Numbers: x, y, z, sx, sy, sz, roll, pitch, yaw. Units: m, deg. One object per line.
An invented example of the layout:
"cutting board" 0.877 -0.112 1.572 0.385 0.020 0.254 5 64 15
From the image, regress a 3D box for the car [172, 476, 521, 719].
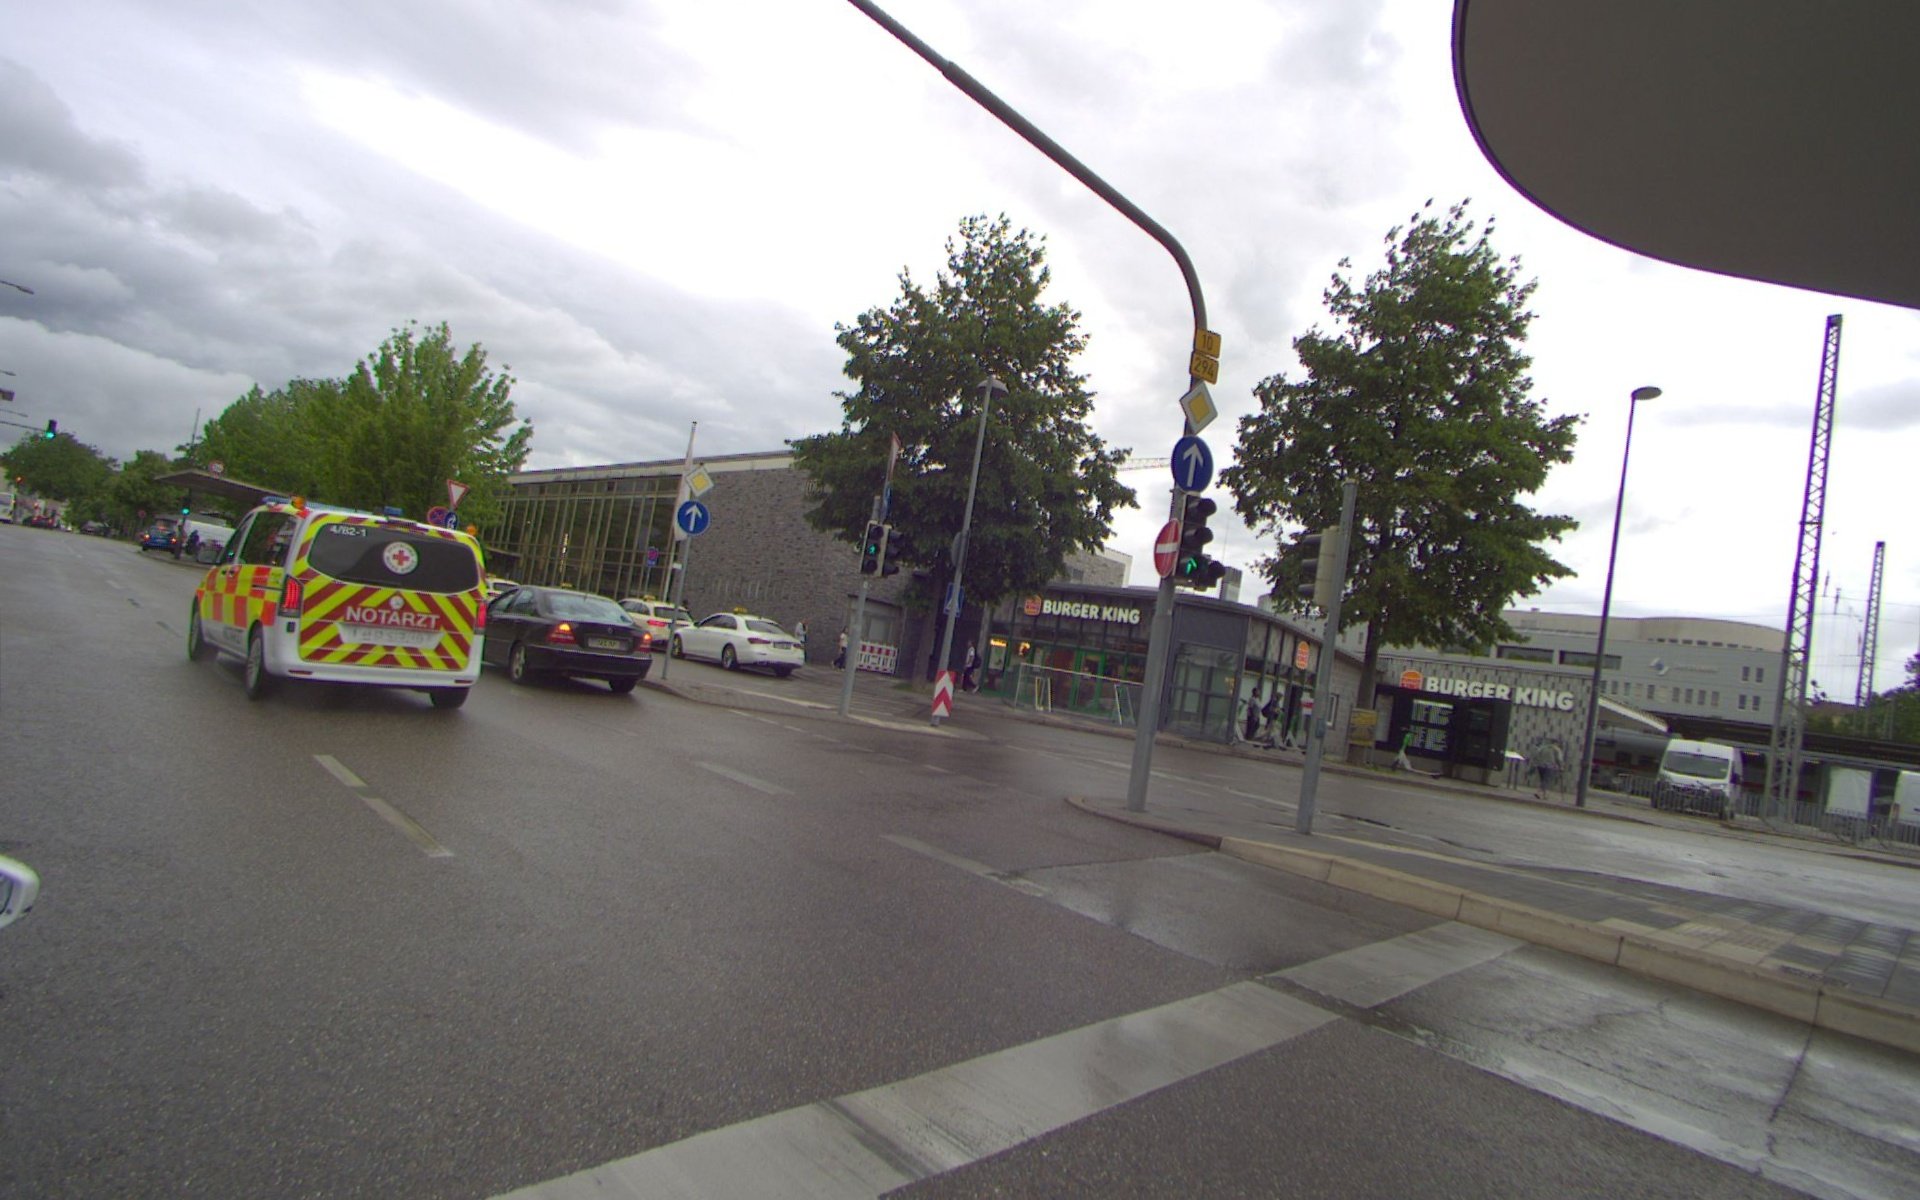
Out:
"car" -6.994 -0.090 11.172 4.997 2.036 1.990 5 -3 45

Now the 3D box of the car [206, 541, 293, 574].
"car" -46.260 -2.731 65.589 1.808 1.339 4.201 6 -4 27

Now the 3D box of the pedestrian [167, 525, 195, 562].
"pedestrian" -39.578 -2.876 51.119 0.824 1.766 0.746 6 -3 39

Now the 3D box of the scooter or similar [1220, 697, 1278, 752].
"scooter or similar" 7.373 3.174 25.673 1.279 1.196 0.334 7 -1 14

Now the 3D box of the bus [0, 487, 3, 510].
"bus" -76.805 -6.968 77.864 3.537 4.025 11.033 9 -3 -44

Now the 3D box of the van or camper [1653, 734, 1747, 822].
"van or camper" 25.652 6.071 34.771 2.135 2.461 5.844 6 -3 40

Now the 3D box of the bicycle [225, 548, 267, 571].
"bicycle" -40.158 -2.268 56.635 0.413 1.067 1.832 6 -2 29

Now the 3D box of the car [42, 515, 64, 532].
"car" -123.311 -10.418 136.817 1.988 2.036 3.953 9 -3 -43

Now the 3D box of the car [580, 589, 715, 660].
"car" -9.855 0.717 31.500 1.988 1.618 4.899 9 -2 -43

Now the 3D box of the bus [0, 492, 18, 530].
"bus" -103.446 -9.667 108.013 2.799 3.789 10.315 9 -3 -44

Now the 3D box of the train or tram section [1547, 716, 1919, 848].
"train or tram section" 47.942 10.346 53.073 4.579 4.229 28.957 9 -3 -43

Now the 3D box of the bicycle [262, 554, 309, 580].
"bicycle" -33.998 -1.650 50.737 1.823 1.068 0.415 9 -3 -44

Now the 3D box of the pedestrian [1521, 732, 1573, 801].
"pedestrian" 14.617 4.132 25.067 0.824 1.547 0.638 7 -1 17

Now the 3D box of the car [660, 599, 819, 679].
"car" -6.086 1.018 27.353 1.875 1.617 4.845 9 -3 -43

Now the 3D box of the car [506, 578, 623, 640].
"car" -14.215 0.288 35.987 1.991 1.616 4.896 12 -4 -44

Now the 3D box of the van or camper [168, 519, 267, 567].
"van or camper" -59.510 -4.516 80.778 2.158 2.794 5.972 7 -2 20

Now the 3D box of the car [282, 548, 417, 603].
"car" -25.883 -1.033 42.730 4.686 1.562 1.767 7 -3 7

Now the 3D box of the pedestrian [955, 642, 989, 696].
"pedestrian" 0.399 2.299 33.538 0.763 1.687 0.646 5 -1 25

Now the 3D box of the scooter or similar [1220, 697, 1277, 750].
"scooter or similar" 7.521 3.219 26.255 1.279 1.196 0.334 7 -1 14

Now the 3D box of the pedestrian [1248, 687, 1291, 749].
"pedestrian" 9.138 3.470 29.695 0.716 1.686 0.791 8 -2 -33

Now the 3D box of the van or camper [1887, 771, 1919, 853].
"van or camper" 32.541 6.984 30.855 1.988 2.461 5.794 9 -3 -43

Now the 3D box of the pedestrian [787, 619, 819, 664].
"pedestrian" -5.606 1.480 35.913 0.709 1.494 0.798 7 -1 16

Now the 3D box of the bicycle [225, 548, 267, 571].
"bicycle" -40.464 -2.290 57.019 0.413 1.067 1.832 6 -2 29

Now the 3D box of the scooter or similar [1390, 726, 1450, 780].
"scooter or similar" 12.096 4.020 26.446 1.279 1.196 0.334 7 -1 14

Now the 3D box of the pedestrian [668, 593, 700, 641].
"pedestrian" -10.244 0.636 37.384 0.782 1.645 0.723 7 -1 3

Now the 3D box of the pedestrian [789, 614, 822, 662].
"pedestrian" -5.506 1.350 35.863 0.697 1.598 0.772 7 -1 16

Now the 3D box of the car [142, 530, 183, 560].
"car" -51.446 -3.546 64.856 1.852 1.586 3.958 10 -4 -39

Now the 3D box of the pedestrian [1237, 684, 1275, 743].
"pedestrian" 9.106 3.489 30.991 0.710 1.686 0.797 7 -1 -5

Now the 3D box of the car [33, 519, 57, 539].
"car" -113.761 -8.817 125.066 1.988 2.036 3.953 9 -3 -43

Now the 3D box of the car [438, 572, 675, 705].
"car" -6.226 0.514 15.225 1.691 1.482 4.397 9 -3 -44

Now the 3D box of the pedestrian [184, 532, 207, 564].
"pedestrian" -48.018 -3.275 63.178 0.854 1.855 1.176 9 -3 -43

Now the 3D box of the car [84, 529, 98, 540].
"car" -149.259 -11.285 172.777 1.591 1.578 3.607 9 -3 -43

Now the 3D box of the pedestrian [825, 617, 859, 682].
"pedestrian" -4.161 1.748 35.495 0.709 2.189 0.798 7 -1 16

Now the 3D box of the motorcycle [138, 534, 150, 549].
"motorcycle" -73.451 -5.260 90.541 0.592 1.303 1.934 9 -2 -37

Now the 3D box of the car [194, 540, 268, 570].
"car" -54.119 -3.345 74.745 1.830 1.458 4.006 7 -4 20
